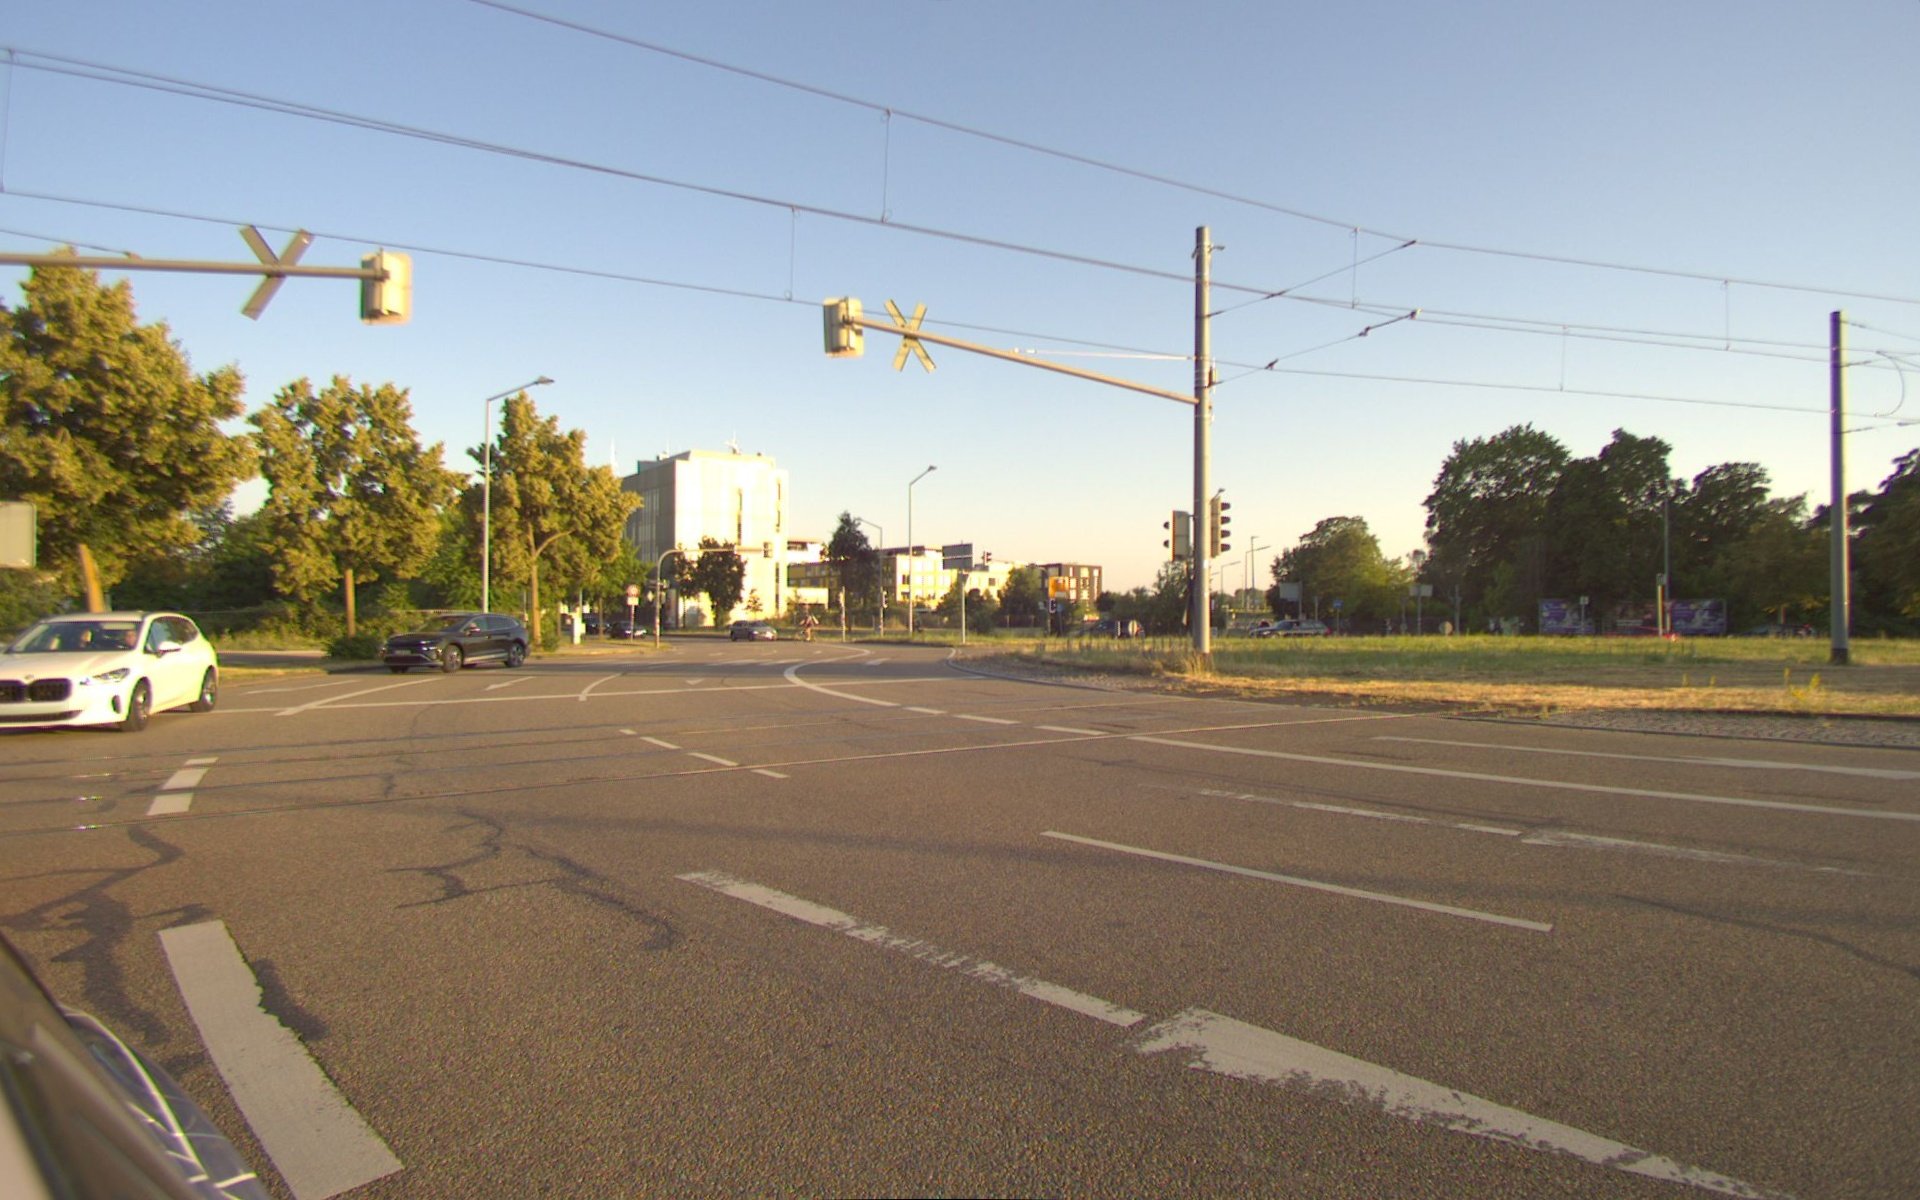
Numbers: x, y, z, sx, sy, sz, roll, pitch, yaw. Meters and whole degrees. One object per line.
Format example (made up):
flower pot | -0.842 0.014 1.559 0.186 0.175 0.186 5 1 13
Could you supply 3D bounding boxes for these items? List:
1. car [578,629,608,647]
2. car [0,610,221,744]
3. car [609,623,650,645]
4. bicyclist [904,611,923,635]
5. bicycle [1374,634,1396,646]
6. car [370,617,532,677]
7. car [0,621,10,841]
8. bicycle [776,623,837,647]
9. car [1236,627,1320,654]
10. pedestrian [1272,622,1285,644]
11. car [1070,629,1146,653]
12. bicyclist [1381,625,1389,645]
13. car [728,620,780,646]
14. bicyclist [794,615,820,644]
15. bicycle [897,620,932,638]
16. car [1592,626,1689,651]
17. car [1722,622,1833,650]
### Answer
car | -35.105 3.629 96.776 1.841 1.637 4.205 1 -1 -32
car | -11.923 0.954 13.991 1.730 1.570 4.228 0 -1 -22
car | -26.196 2.685 80.164 1.843 1.637 4.202 1 -1 -37
bicyclist | -3.163 1.562 68.896 0.984 1.645 0.813 1 -1 -32
bicycle | 30.891 2.903 73.539 1.402 0.797 0.472 0 -2 8
car | -14.184 1.281 28.493 1.810 1.570 4.196 -1 -2 13
car | -5.807 0.791 4.729 1.667 1.432 4.218 1 -3 -39
bicycle | -9.278 2.095 61.171 3.478 1.406 1.127 0 -1 -17
car | 18.236 2.312 58.212 4.193 1.512 1.843 0 -1 -2
pedestrian | 24.787 2.582 78.671 0.719 1.714 0.879 -1 -2 35
car | 9.284 2.550 63.535 4.378 1.443 1.928 -1 -2 25
bicyclist | 30.898 2.538 73.534 0.443 1.408 0.472 0 -2 8
car | -14.148 2.236 69.290 1.843 1.637 4.201 1 -1 -38
bicyclist | -9.236 1.768 61.193 1.393 1.762 1.127 0 -1 -17
bicycle | -3.068 1.961 68.945 2.289 1.188 0.813 1 -1 -32
car | 41.334 2.322 61.623 1.911 1.443 4.609 1 -2 -20
car | 44.071 1.933 54.690 1.911 1.443 4.333 0 -2 -16
